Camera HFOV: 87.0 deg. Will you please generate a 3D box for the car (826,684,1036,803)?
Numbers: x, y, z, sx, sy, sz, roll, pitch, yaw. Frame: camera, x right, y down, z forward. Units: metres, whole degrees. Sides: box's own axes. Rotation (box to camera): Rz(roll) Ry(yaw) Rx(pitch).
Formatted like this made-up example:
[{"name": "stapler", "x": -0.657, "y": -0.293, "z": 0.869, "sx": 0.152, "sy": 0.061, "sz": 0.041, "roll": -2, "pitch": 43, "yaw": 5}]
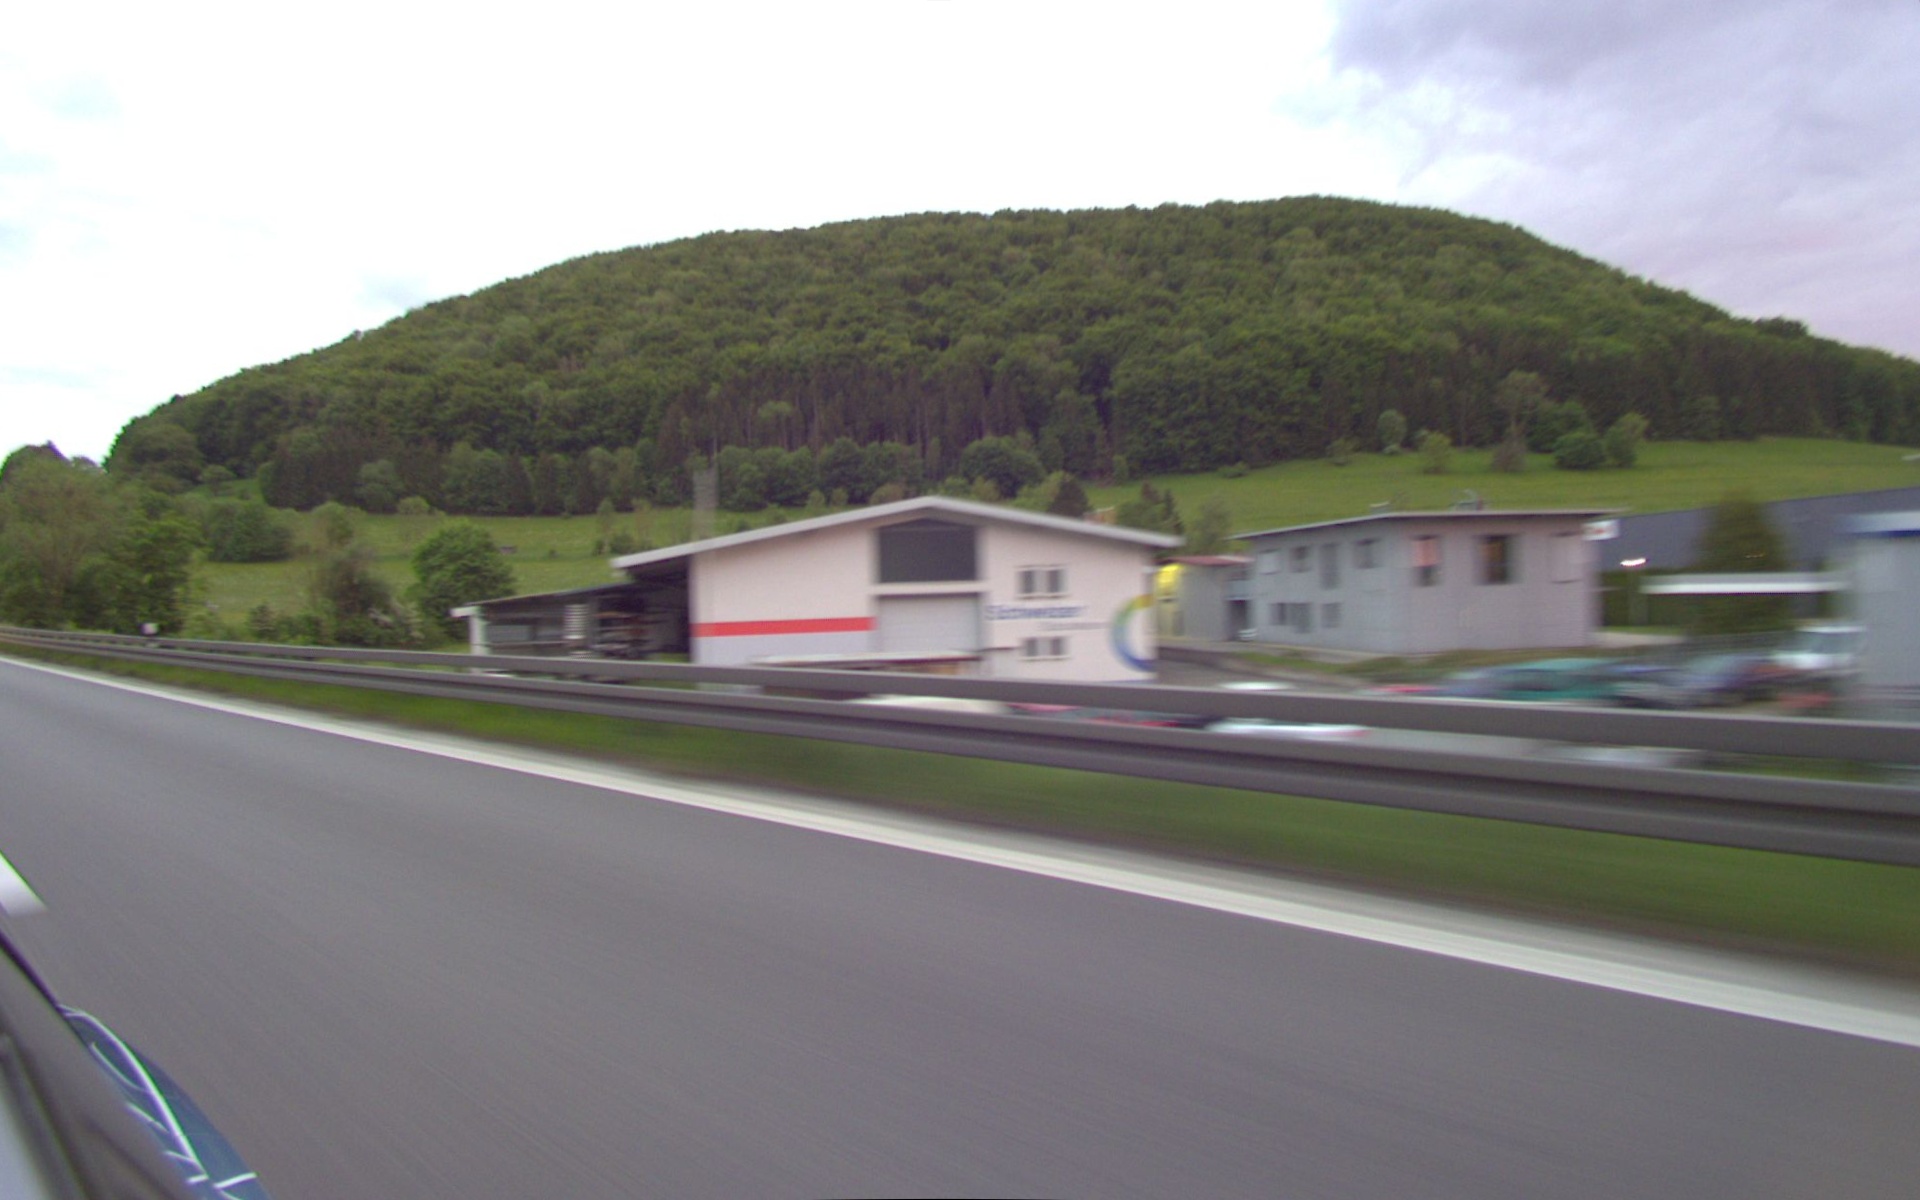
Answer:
[{"name": "car", "x": -0.484, "y": 2.678, "z": 19.738, "sx": 3.941, "sy": 1.706, "sz": 1.774, "roll": -1, "pitch": 0, "yaw": -44}]
